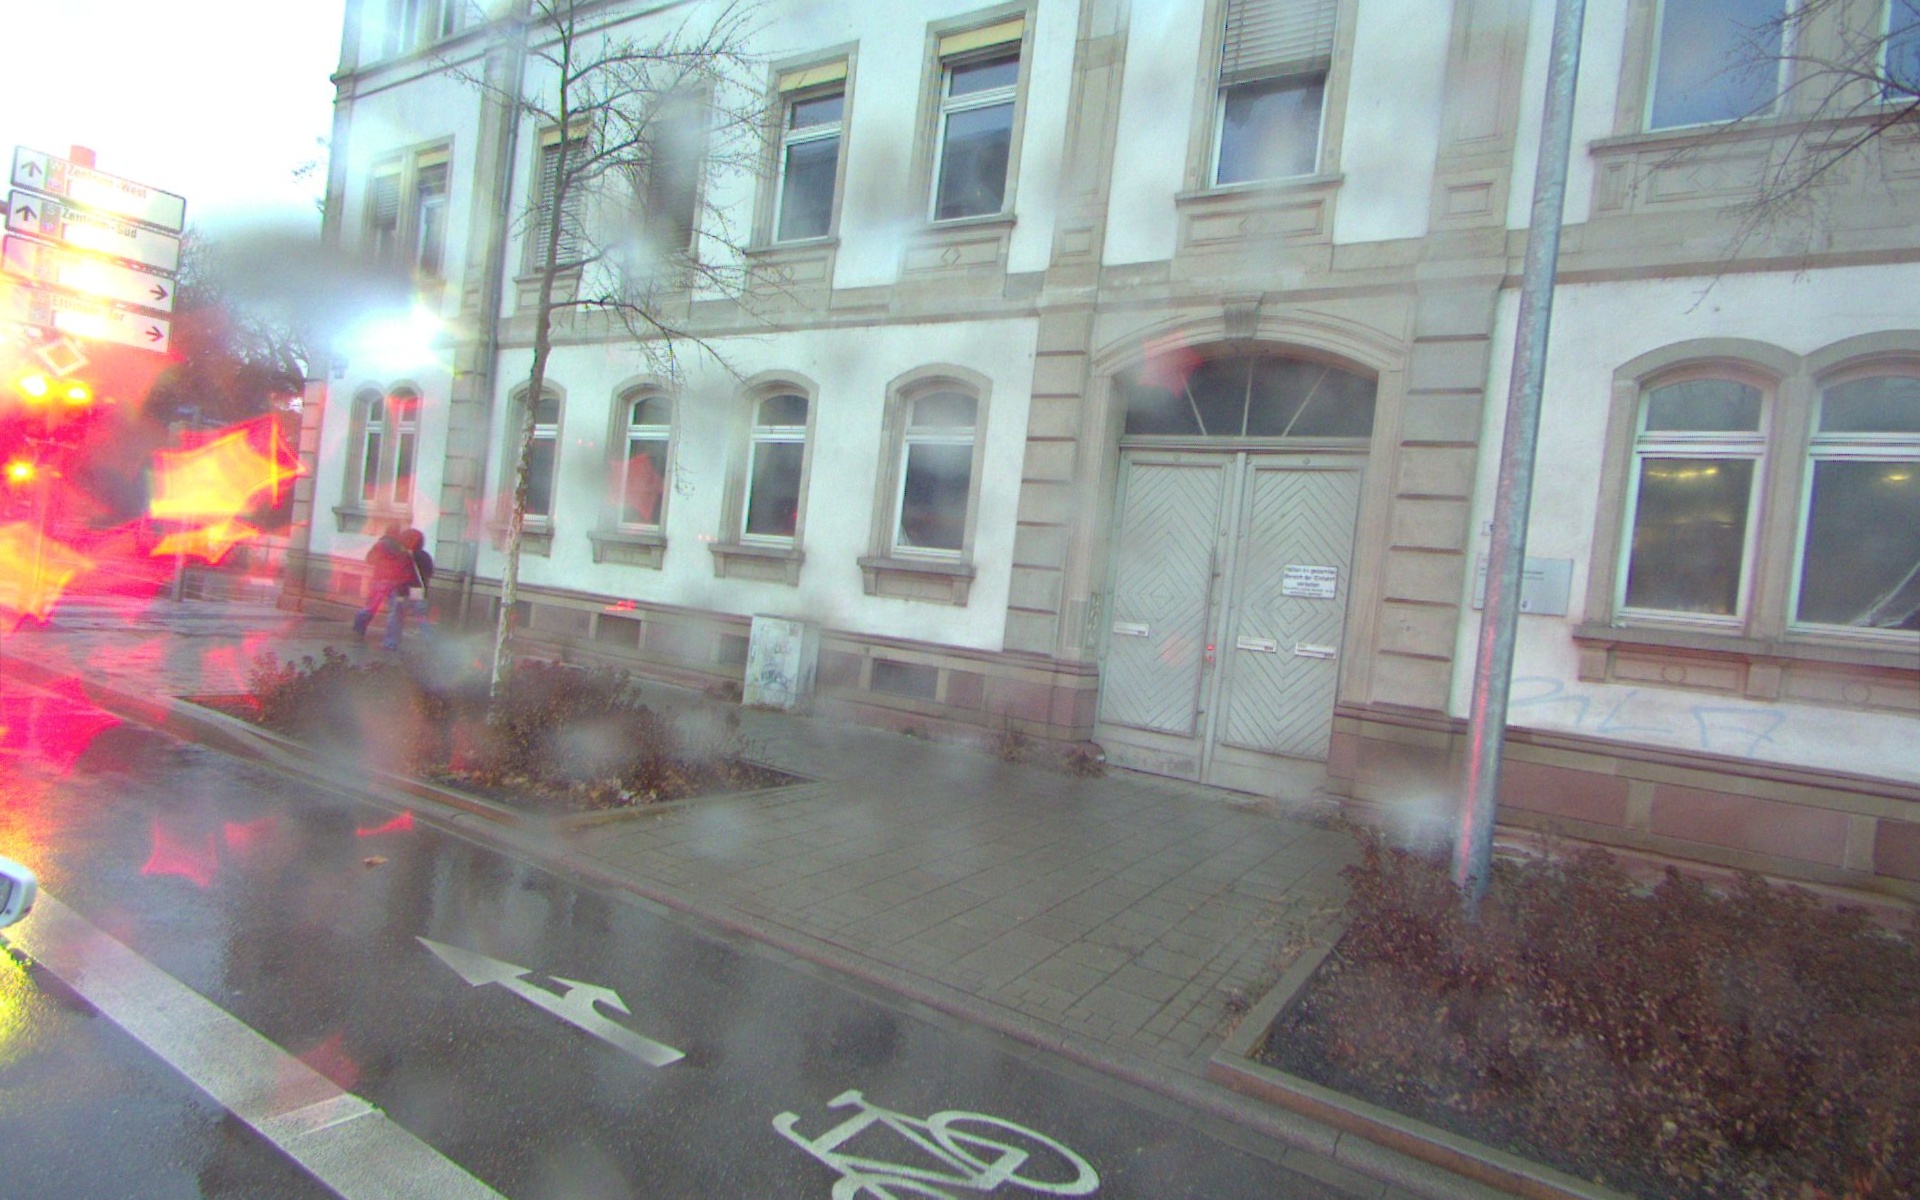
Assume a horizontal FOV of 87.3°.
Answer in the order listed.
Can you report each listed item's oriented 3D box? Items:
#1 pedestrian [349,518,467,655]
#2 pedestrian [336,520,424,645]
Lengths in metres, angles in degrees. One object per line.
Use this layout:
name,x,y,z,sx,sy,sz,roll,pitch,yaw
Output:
pedestrian,-7.065,-0.165,12.885,0.995,1.597,0.782,6,-1,33
pedestrian,-8.314,-0.256,14.413,0.778,1.651,1.000,8,-1,-39
